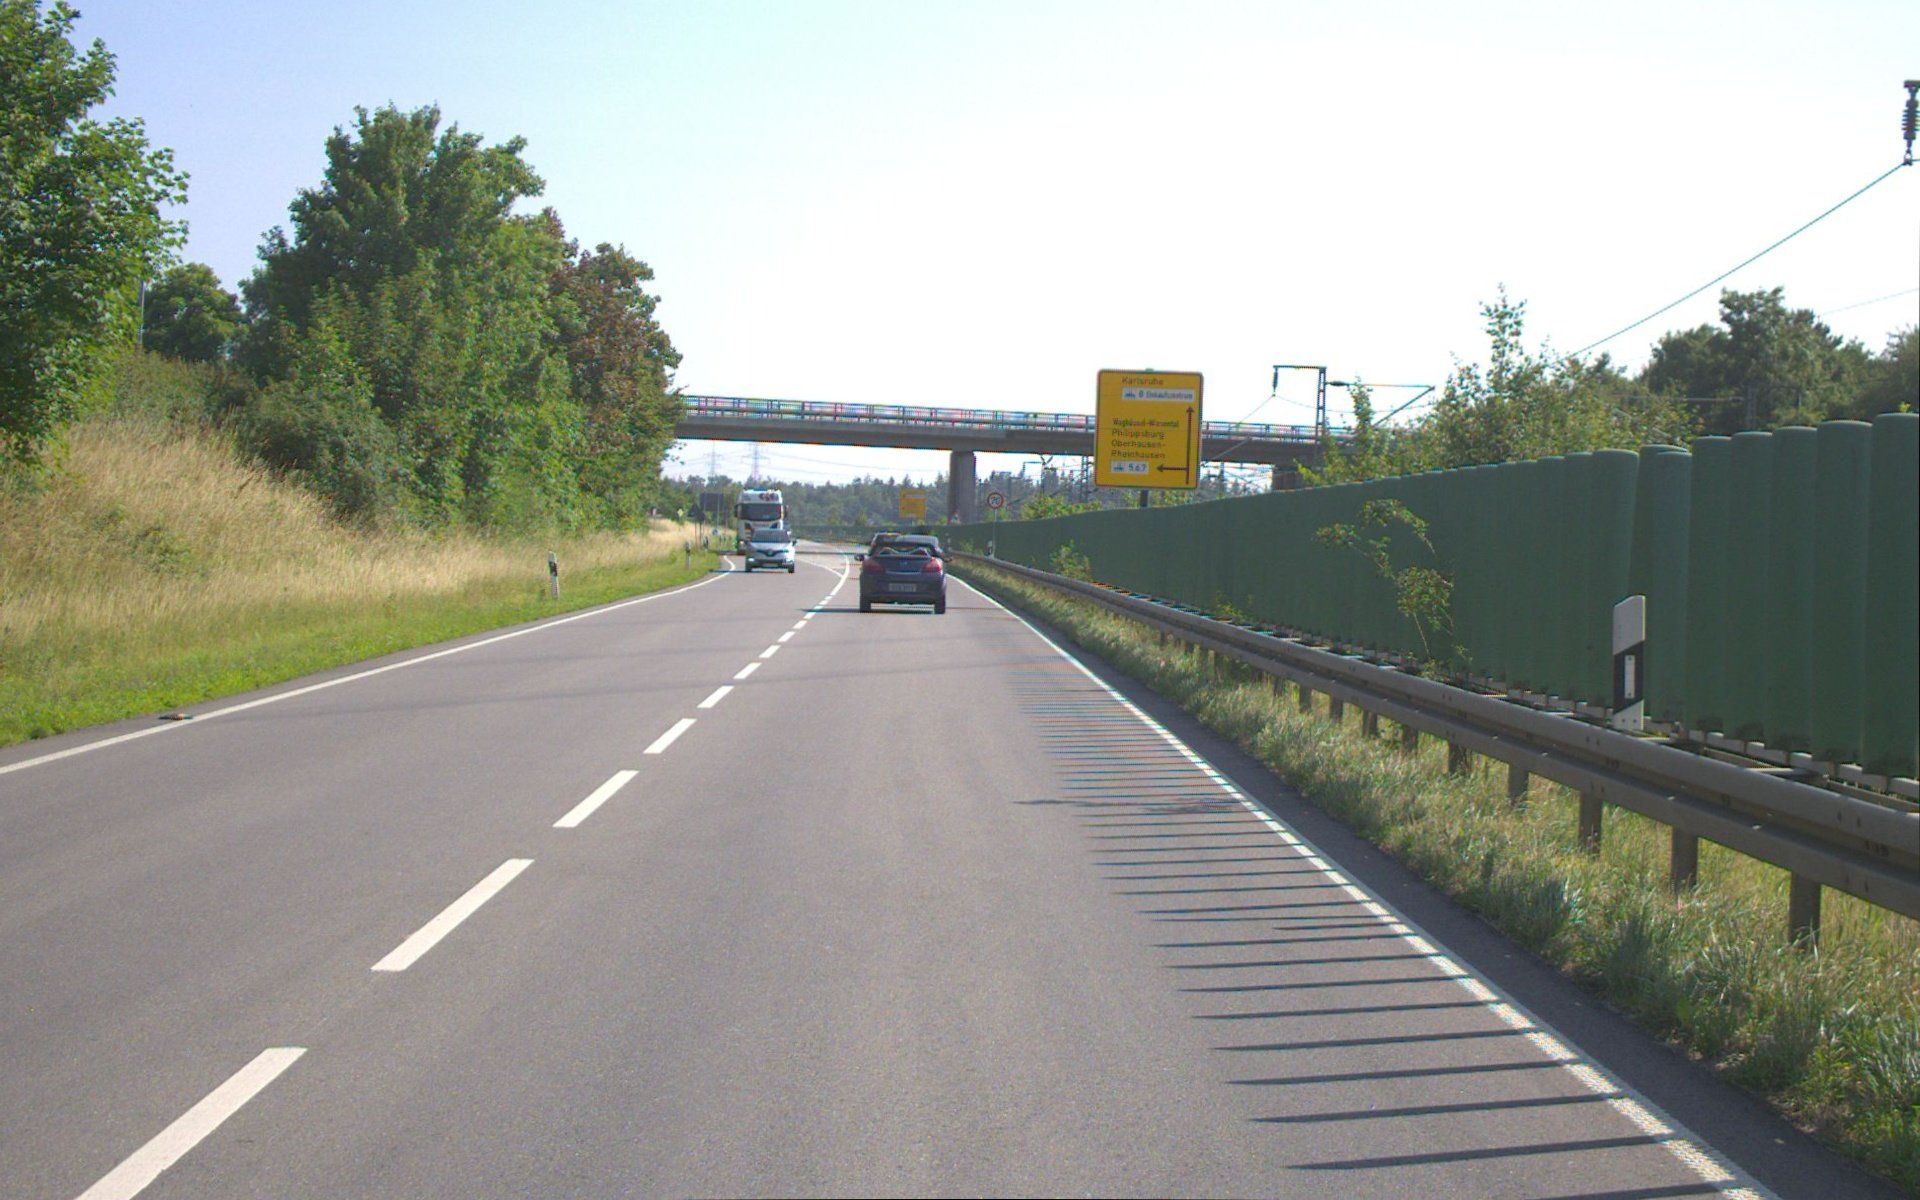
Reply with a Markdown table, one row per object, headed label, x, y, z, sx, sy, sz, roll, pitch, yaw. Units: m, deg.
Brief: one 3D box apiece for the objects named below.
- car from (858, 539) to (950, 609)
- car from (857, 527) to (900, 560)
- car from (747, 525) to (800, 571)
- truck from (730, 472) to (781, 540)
| label | x | y | z | sx | sy | sz | roll | pitch | yaw |
| --- | --- | --- | --- | --- | --- | --- | --- | --- | --- |
| car | -1.100 | -0.521 | 65.967 | 1.663 | 1.257 | 4.000 | 1 | 1 | -2 |
| car | -3.722 | -2.557 | 156.088 | 1.895 | 1.413 | 4.000 | 1 | 1 | -2 |
| car | -6.676 | -1.885 | 123.505 | 1.795 | 1.588 | 4.000 | 1 | 1 | -2 |
| truck | -11.557 | -5.331 | 195.086 | 2.559 | 3.676 | 10.489 | 1 | 1 | -2 |
